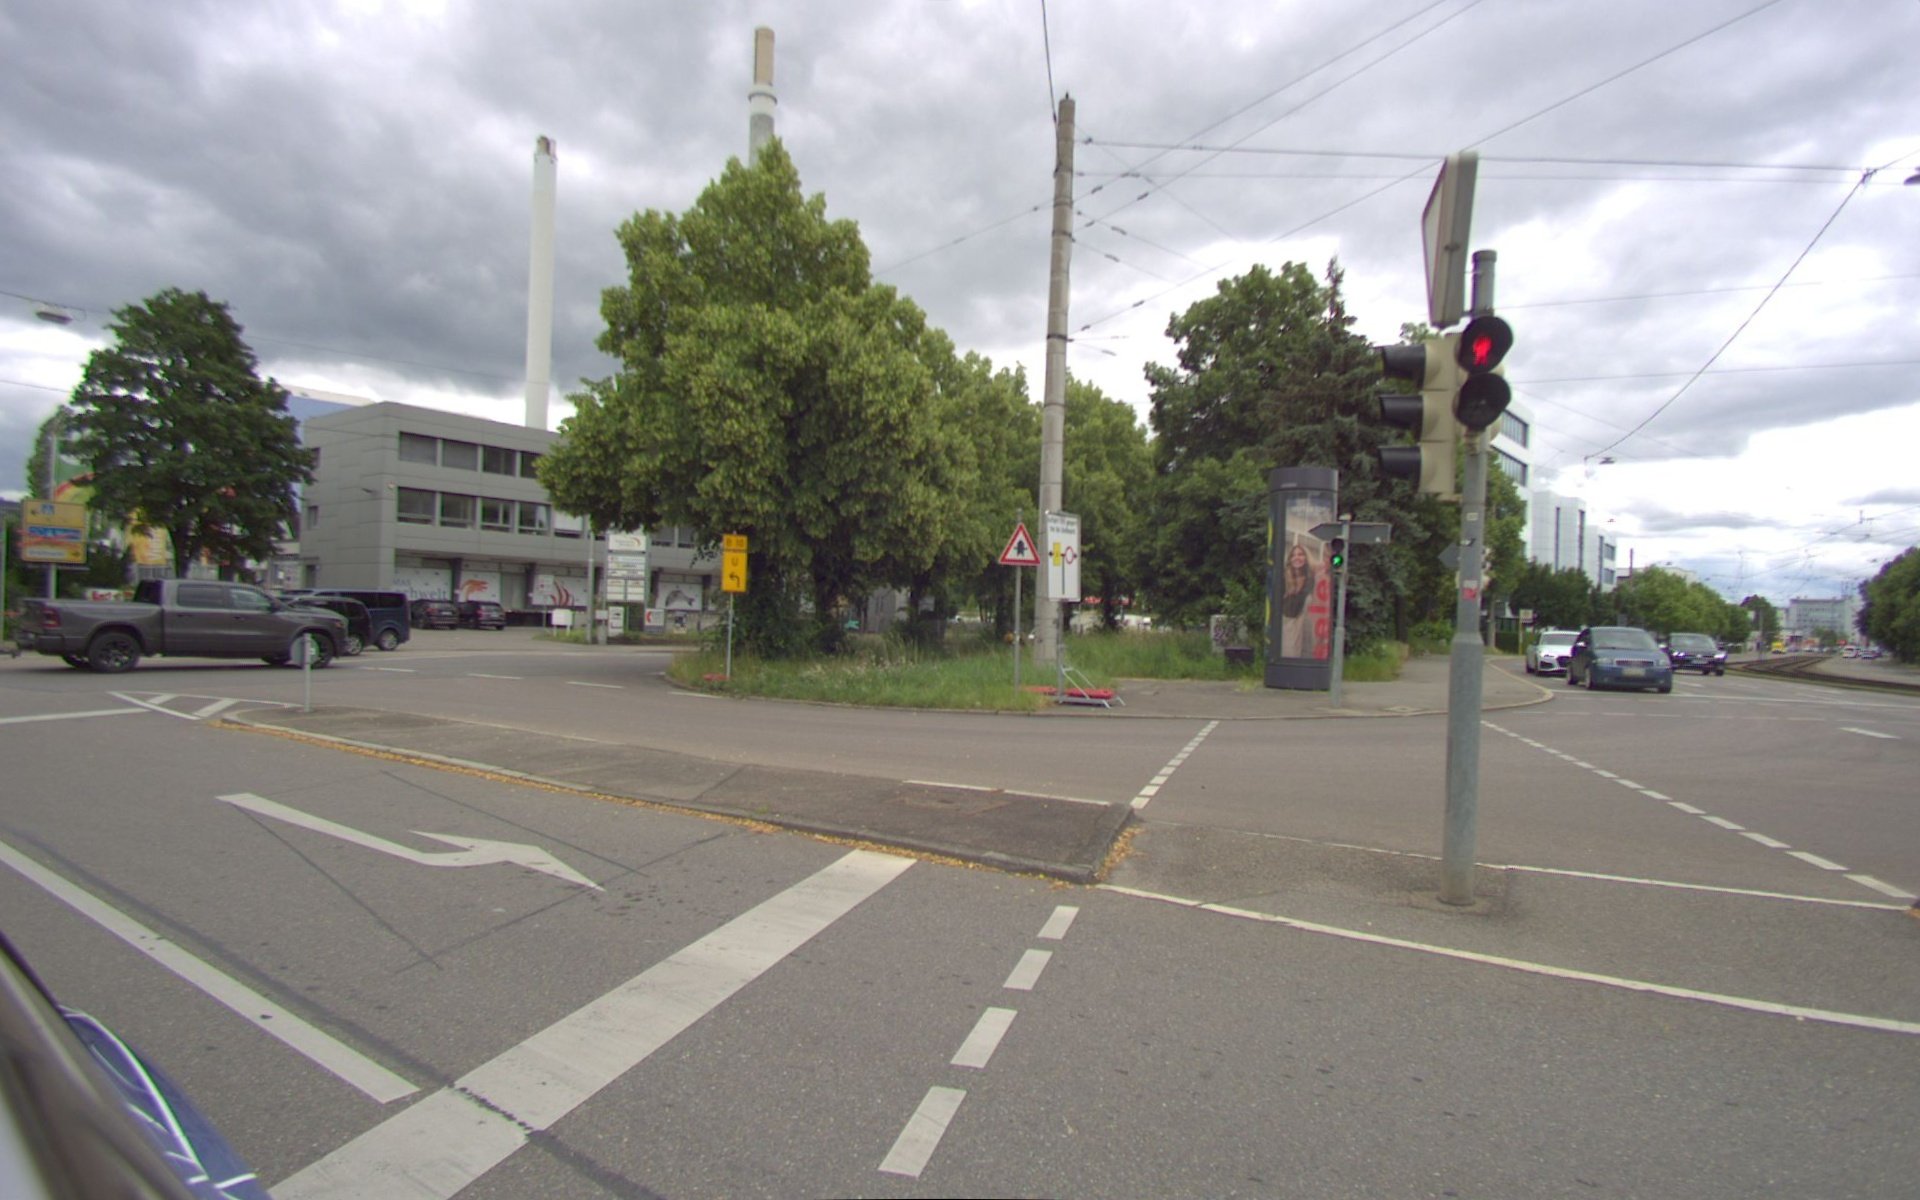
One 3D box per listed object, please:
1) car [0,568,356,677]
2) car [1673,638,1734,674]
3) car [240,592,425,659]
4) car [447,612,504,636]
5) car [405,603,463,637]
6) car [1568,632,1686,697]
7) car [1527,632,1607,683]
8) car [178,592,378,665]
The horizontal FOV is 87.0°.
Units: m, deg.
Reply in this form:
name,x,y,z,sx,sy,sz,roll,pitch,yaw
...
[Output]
name,x,y,z,sx,sy,sz,roll,pitch,yaw
car,-16.584,0.507,21.801,1.946,1.994,5.803,2,-1,34
car,29.552,2.204,40.197,1.629,1.342,3.130,0,-2,42
car,-19.973,0.821,32.463,1.825,1.959,4.756,0,-2,28
car,-28.386,1.389,59.255,3.572,1.187,1.753,3,3,42
car,-29.763,1.082,57.191,3.572,1.691,1.753,3,3,42
car,15.930,1.497,24.352,1.738,1.402,3.674,0,-2,23
car,18.666,1.726,31.273,1.740,1.437,4.128,0,-2,26
car,-18.323,0.774,27.444,1.819,1.785,4.201,1,-2,20
